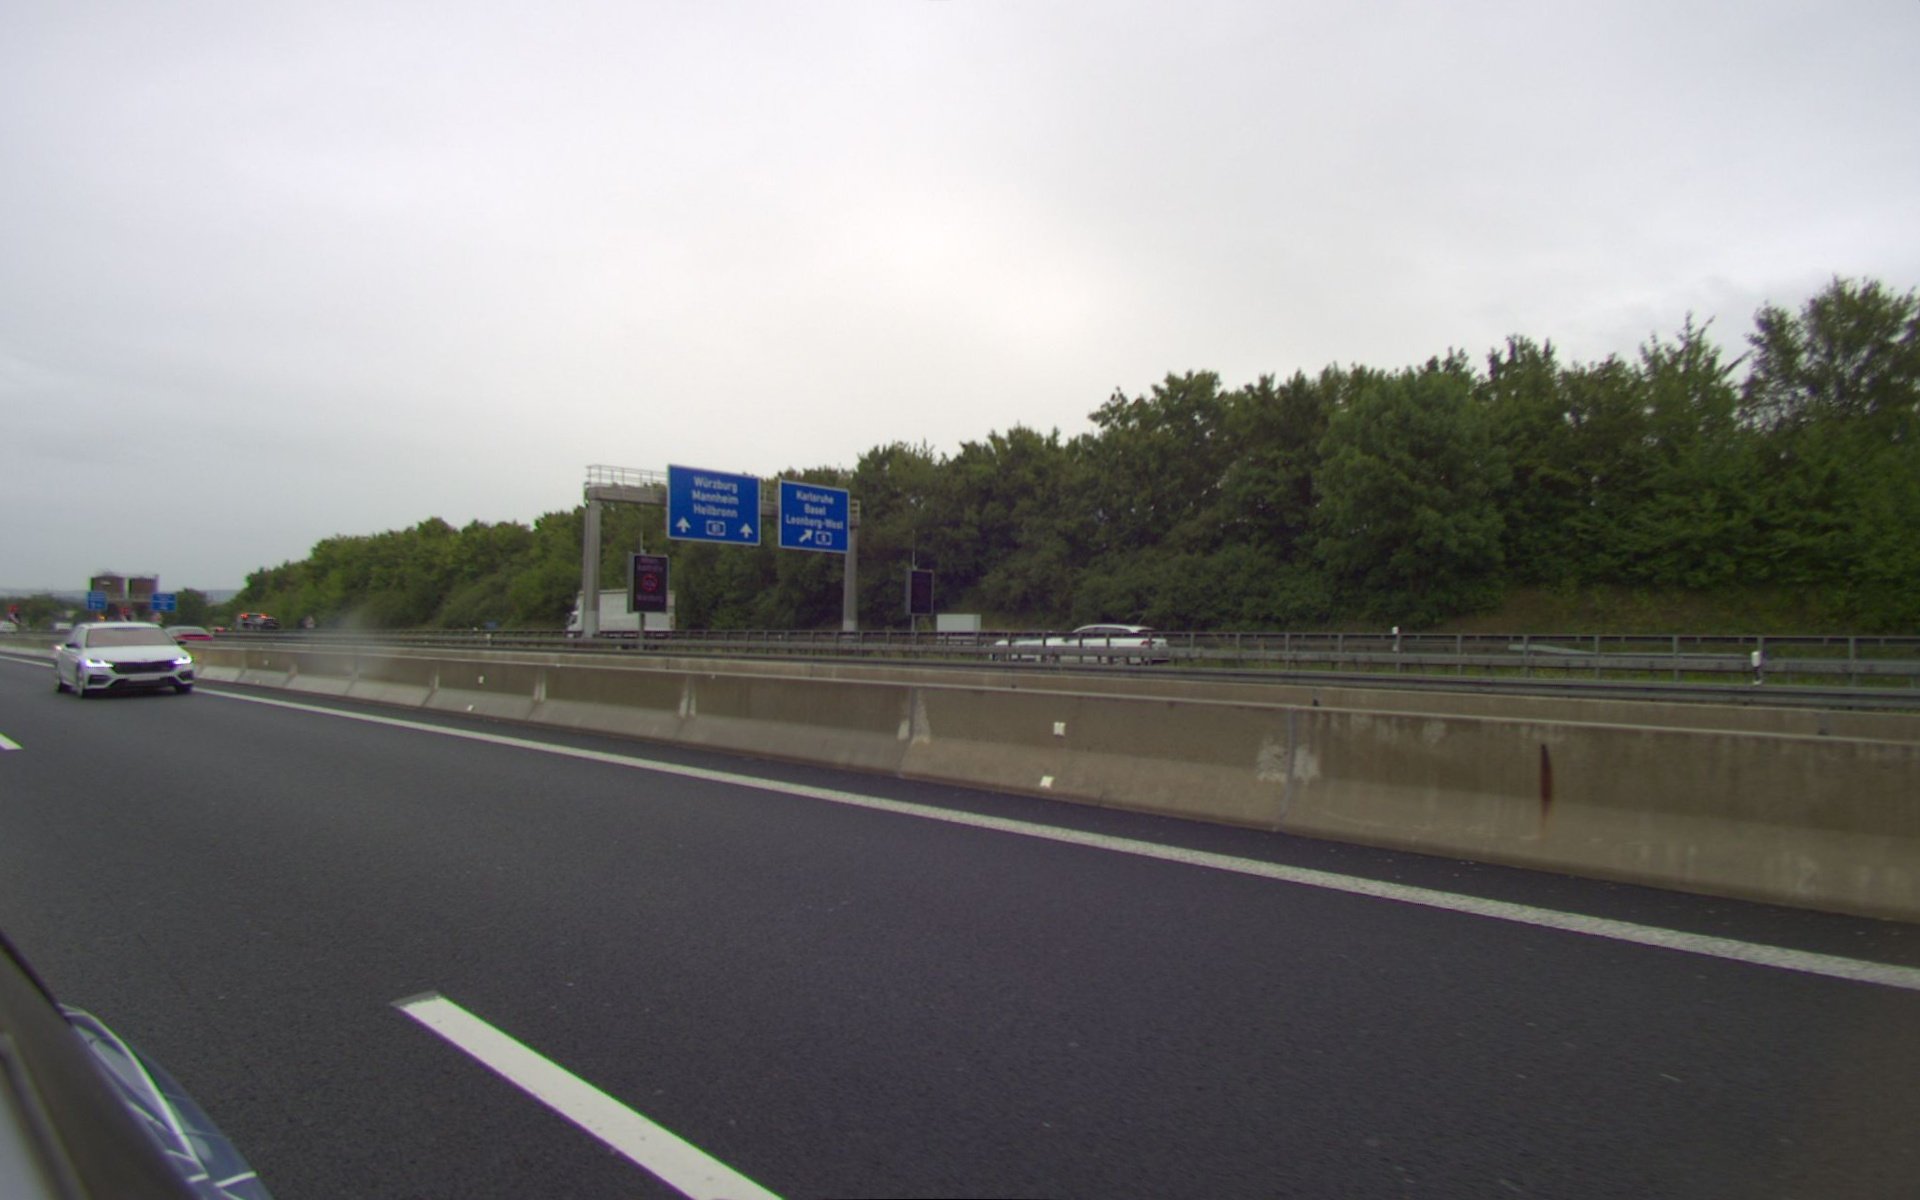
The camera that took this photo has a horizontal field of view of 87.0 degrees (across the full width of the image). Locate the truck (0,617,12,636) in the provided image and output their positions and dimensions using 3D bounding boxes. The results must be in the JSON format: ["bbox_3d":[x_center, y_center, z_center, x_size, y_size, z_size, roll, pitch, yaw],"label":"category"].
[{"bbox_3d":[-129.344,3.549,135.719,7.339,2.358,2.549,-1,-1,41],"label":"truck"}]

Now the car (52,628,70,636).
[{"bbox_3d":[-172.030,6.176,193.635,4.774,1.467,1.800,-1,-1,40],"label":"car"}]

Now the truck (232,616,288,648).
[{"bbox_3d":[-74.252,3.370,107.230,9.075,3.245,2.821,-1,-1,42],"label":"truck"}]

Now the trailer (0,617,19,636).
[{"bbox_3d":[-123.740,3.451,130.723,7.944,2.358,2.549,-1,-1,42],"label":"trailer"}]

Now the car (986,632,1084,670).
[{"bbox_3d":[3.158,2.122,43.122,3.998,1.467,1.658,-1,-1,41],"label":"car"}]

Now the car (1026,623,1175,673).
[{"bbox_3d":[4.494,1.513,32.847,4.631,1.467,1.658,-1,-1,41],"label":"car"}]

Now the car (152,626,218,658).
[{"bbox_3d":[-38.013,2.020,49.580,4.416,1.467,1.738,-1,-1,41],"label":"car"}]

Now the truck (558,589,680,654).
[{"bbox_3d":[-22.112,1.359,65.288,9.631,3.908,3.042,-1,-1,42],"label":"truck"}]

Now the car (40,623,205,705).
[{"bbox_3d":[-17.374,1.235,20.908,4.774,1.467,1.800,-1,-1,40],"label":"car"}]
